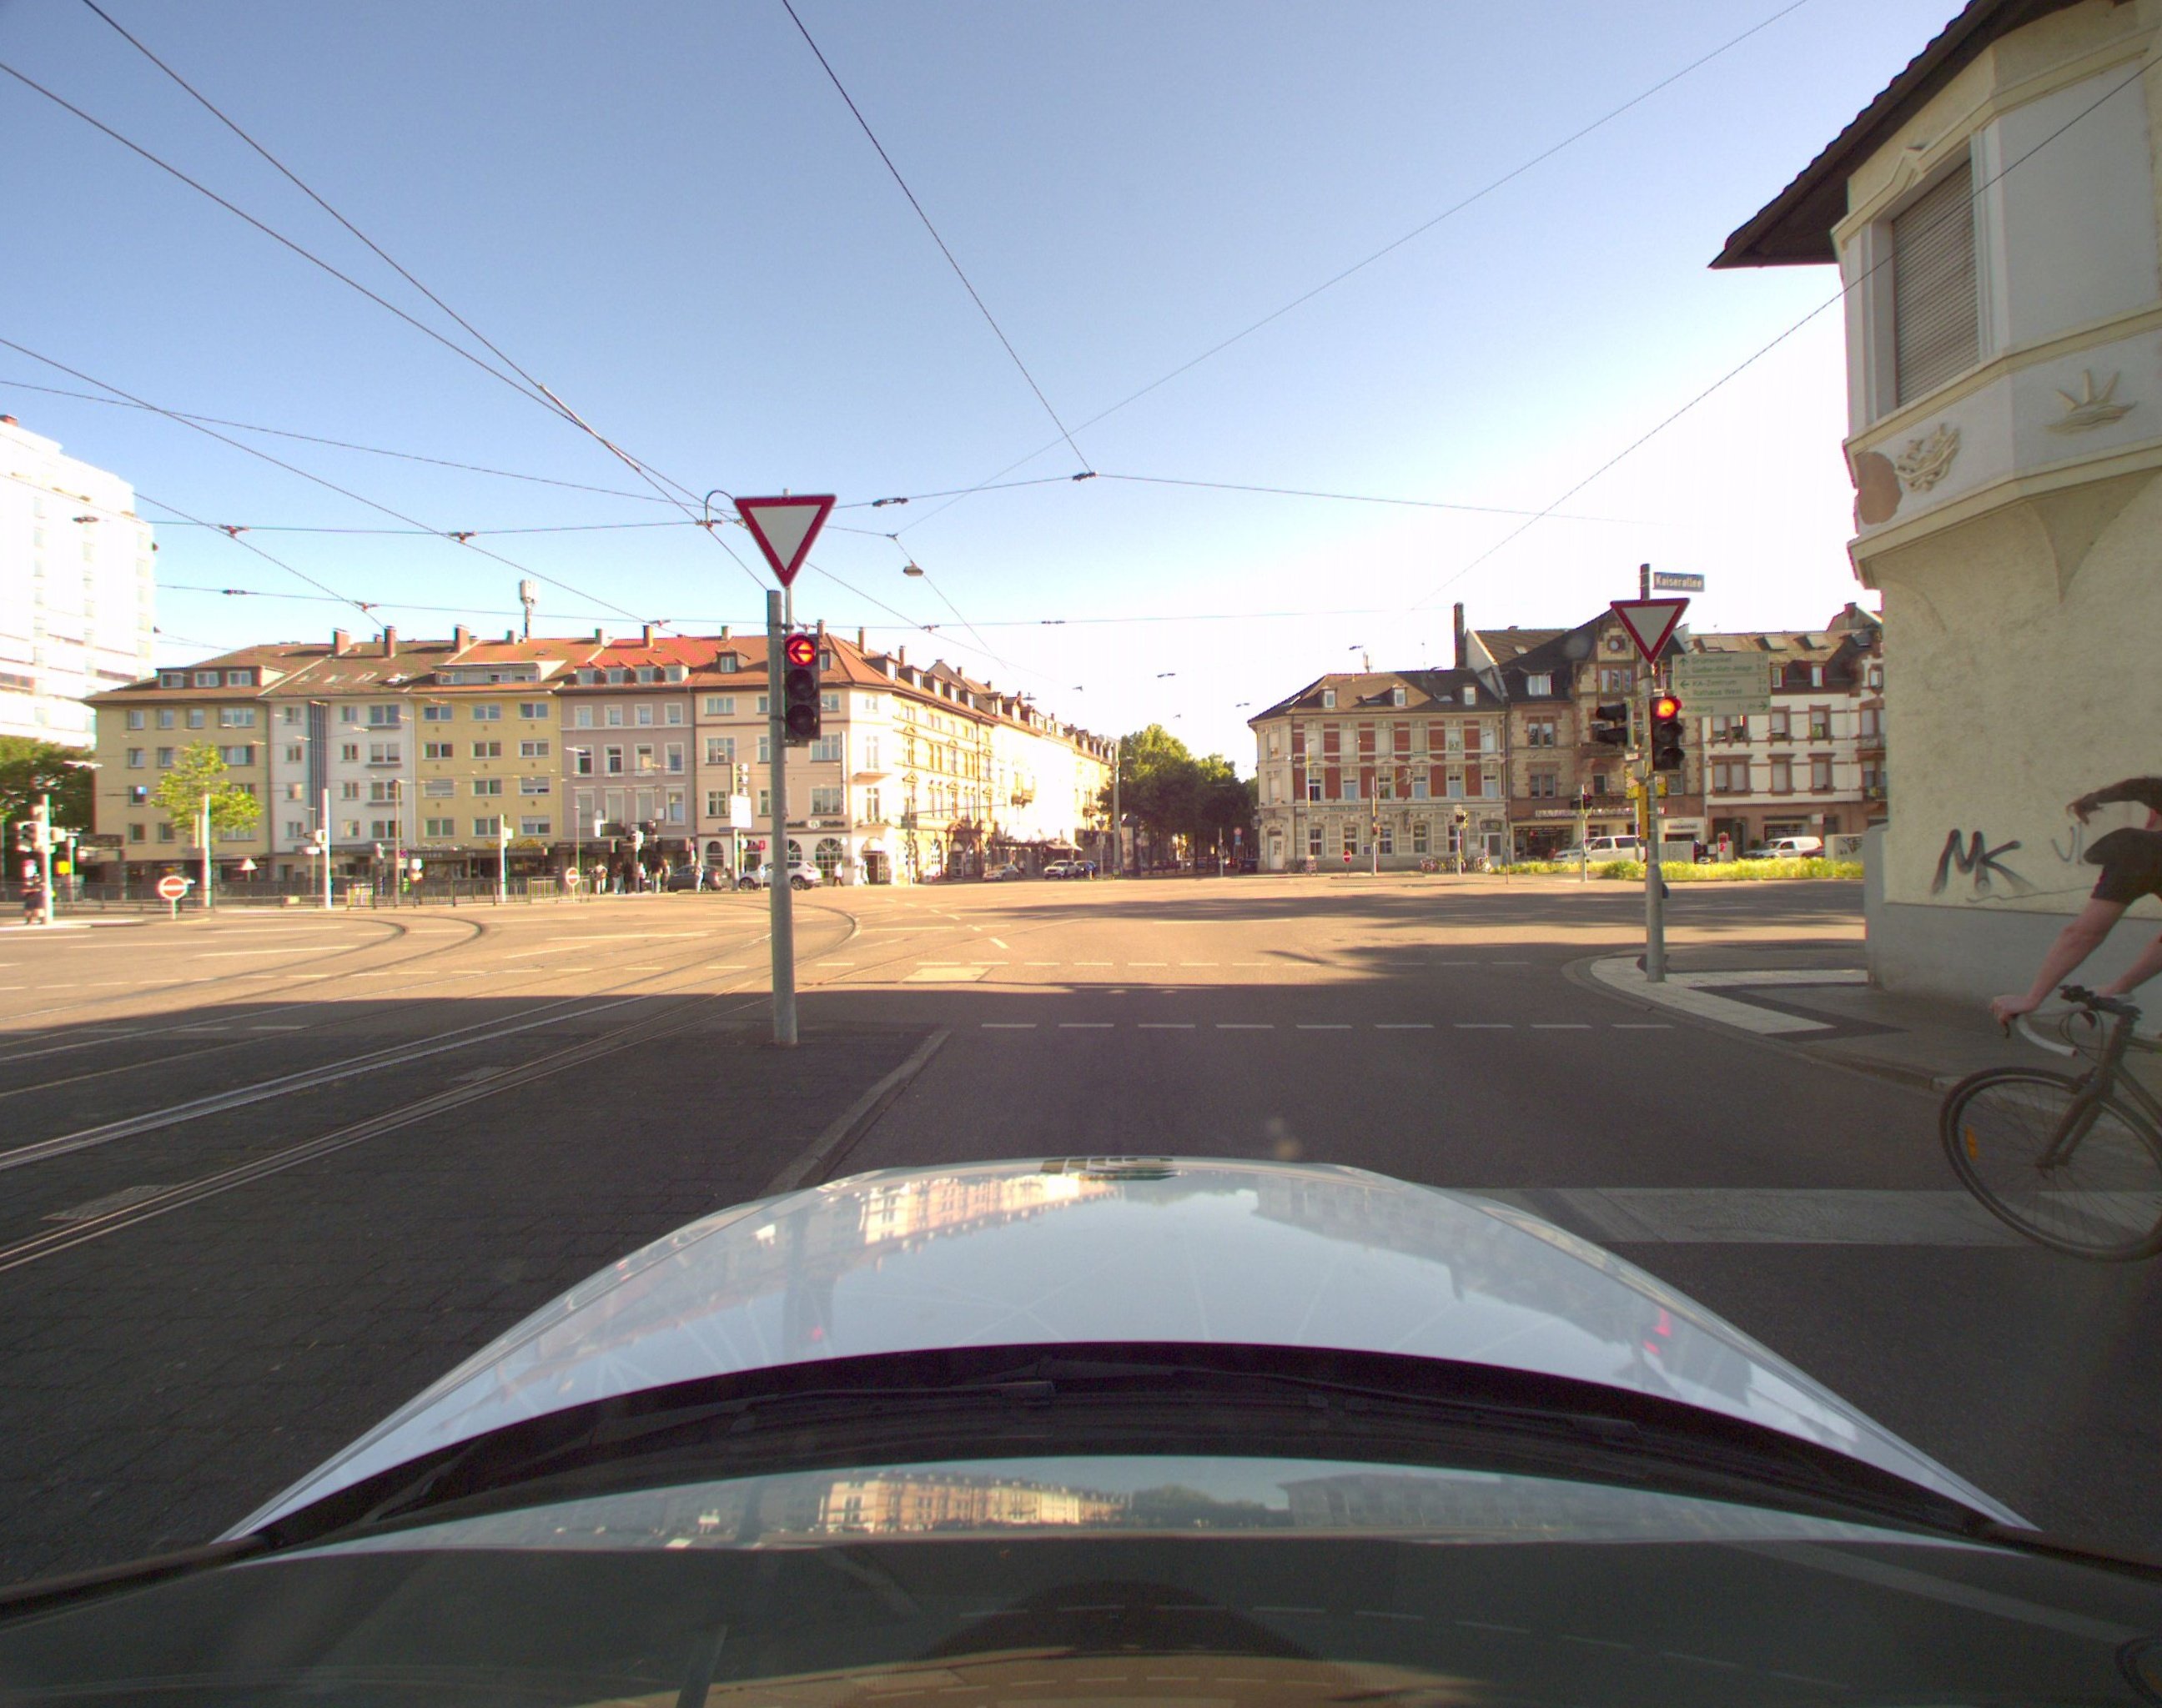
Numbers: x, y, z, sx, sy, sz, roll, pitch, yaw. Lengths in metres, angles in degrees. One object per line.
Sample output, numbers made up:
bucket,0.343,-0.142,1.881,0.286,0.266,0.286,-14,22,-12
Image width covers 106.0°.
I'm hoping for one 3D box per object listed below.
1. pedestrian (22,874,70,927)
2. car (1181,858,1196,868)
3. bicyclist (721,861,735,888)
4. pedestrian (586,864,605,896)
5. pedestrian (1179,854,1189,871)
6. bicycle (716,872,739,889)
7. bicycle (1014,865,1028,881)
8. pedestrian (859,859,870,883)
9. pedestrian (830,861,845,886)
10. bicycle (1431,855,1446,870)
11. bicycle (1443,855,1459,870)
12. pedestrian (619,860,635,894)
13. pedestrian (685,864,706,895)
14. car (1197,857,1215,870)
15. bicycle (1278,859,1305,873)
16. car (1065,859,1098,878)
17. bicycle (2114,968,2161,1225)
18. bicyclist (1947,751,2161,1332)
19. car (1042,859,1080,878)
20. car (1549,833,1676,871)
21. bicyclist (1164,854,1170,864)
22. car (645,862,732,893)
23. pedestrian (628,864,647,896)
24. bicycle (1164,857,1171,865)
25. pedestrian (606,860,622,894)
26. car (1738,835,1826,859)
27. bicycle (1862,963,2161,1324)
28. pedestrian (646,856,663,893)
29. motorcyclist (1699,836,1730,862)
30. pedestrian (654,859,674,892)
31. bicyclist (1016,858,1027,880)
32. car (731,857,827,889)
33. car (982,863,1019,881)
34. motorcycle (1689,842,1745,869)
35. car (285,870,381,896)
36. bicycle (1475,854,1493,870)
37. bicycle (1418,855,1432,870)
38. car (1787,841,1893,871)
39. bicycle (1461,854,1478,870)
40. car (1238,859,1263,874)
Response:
pedestrian,-32.194,1.420,25.333,0.606,1.609,0.769,-1,-1,21
car,17.024,1.470,128.817,1.788,1.575,3.908,-1,-1,17
bicyclist,-22.973,1.330,52.970,0.618,1.790,0.616,0,-1,7
pedestrian,-25.093,1.335,42.098,0.582,1.648,0.616,0,-1,1
pedestrian,12.747,1.047,100.855,0.967,2.014,0.910,0,-1,-30
bicycle,-22.970,1.714,52.942,0.618,1.030,1.758,0,-1,7
bicycle,-4.778,1.484,65.301,0.561,1.254,1.564,-1,-1,17
pedestrian,-15.333,1.204,57.645,0.582,1.676,0.500,-1,-1,18
pedestrian,-16.478,1.313,55.059,0.562,1.642,0.797,-1,-1,25
bicycle,23.263,0.568,53.080,0.758,0.968,2.221,-1,-1,20
bicycle,24.050,0.561,52.956,0.758,0.983,2.221,-1,-1,20
pedestrian,-22.569,1.136,40.479,0.520,1.648,0.498,0,-1,1
pedestrian,-19.866,1.314,41.988,0.666,1.594,0.815,0,-1,1
car,17.864,1.346,116.287,1.978,1.684,4.018,-1,-1,17
bicycle,14.711,0.826,56.908,1.789,0.963,0.606,-1,-1,16
car,0.075,1.287,73.765,1.809,1.685,3.893,-1,-1,18
bicycle,4.457,0.953,2.435,0.501,0.983,1.783,0,-1,2
bicyclist,3.583,0.570,2.618,0.587,1.767,0.936,0,-1,2
car,-1.608,1.175,67.445,1.788,1.585,4.179,-1,-1,19
car,27.265,-0.101,41.885,5.179,1.854,2.001,-1,0,2
bicyclist,12.901,0.720,121.883,0.668,1.568,0.751,-1,-1,20
car,-23.208,1.378,48.218,4.213,1.773,1.818,0,-1,1
pedestrian,-22.973,1.328,42.220,0.571,1.648,0.727,0,-1,1
bicycle,12.904,1.076,121.877,0.668,1.207,1.831,-1,-1,20
pedestrian,-23.224,1.141,40.525,0.520,1.648,0.498,0,-1,1
car,45.077,-0.441,52.430,3.961,1.438,1.874,0,-1,5
bicycle,3.587,0.960,2.614,0.480,0.991,1.783,0,-1,2
pedestrian,-21.540,1.035,41.128,0.525,1.823,0.677,0,-1,1
motorcyclist,32.283,-0.227,41.508,1.009,1.300,0.790,0,-1,6
pedestrian,-21.545,1.110,42.041,0.580,1.648,0.840,0,-1,1
bicyclist,-4.787,1.206,65.312,0.561,1.804,0.918,-1,-1,17
car,-16.726,1.032,45.324,4.665,1.734,1.833,0,-1,-4
car,-6.601,1.472,67.381,1.647,1.374,3.909,-1,-1,17
motorcycle,32.377,0.091,41.493,2.124,1.333,0.798,0,-1,6
car,-41.933,1.617,45.730,3.777,1.403,1.699,0,-1,-1
bicycle,26.049,0.531,52.658,0.785,1.016,2.221,-1,-1,20
bicycle,22.508,0.575,53.347,0.758,0.963,2.221,-1,-1,20
car,38.192,0.114,41.041,3.854,1.426,1.596,-1,0,2
bicycle,25.179,0.540,52.828,0.758,1.007,2.231,-1,-1,20
car,17.110,1.252,82.234,1.741,1.556,4.021,-1,-1,22
